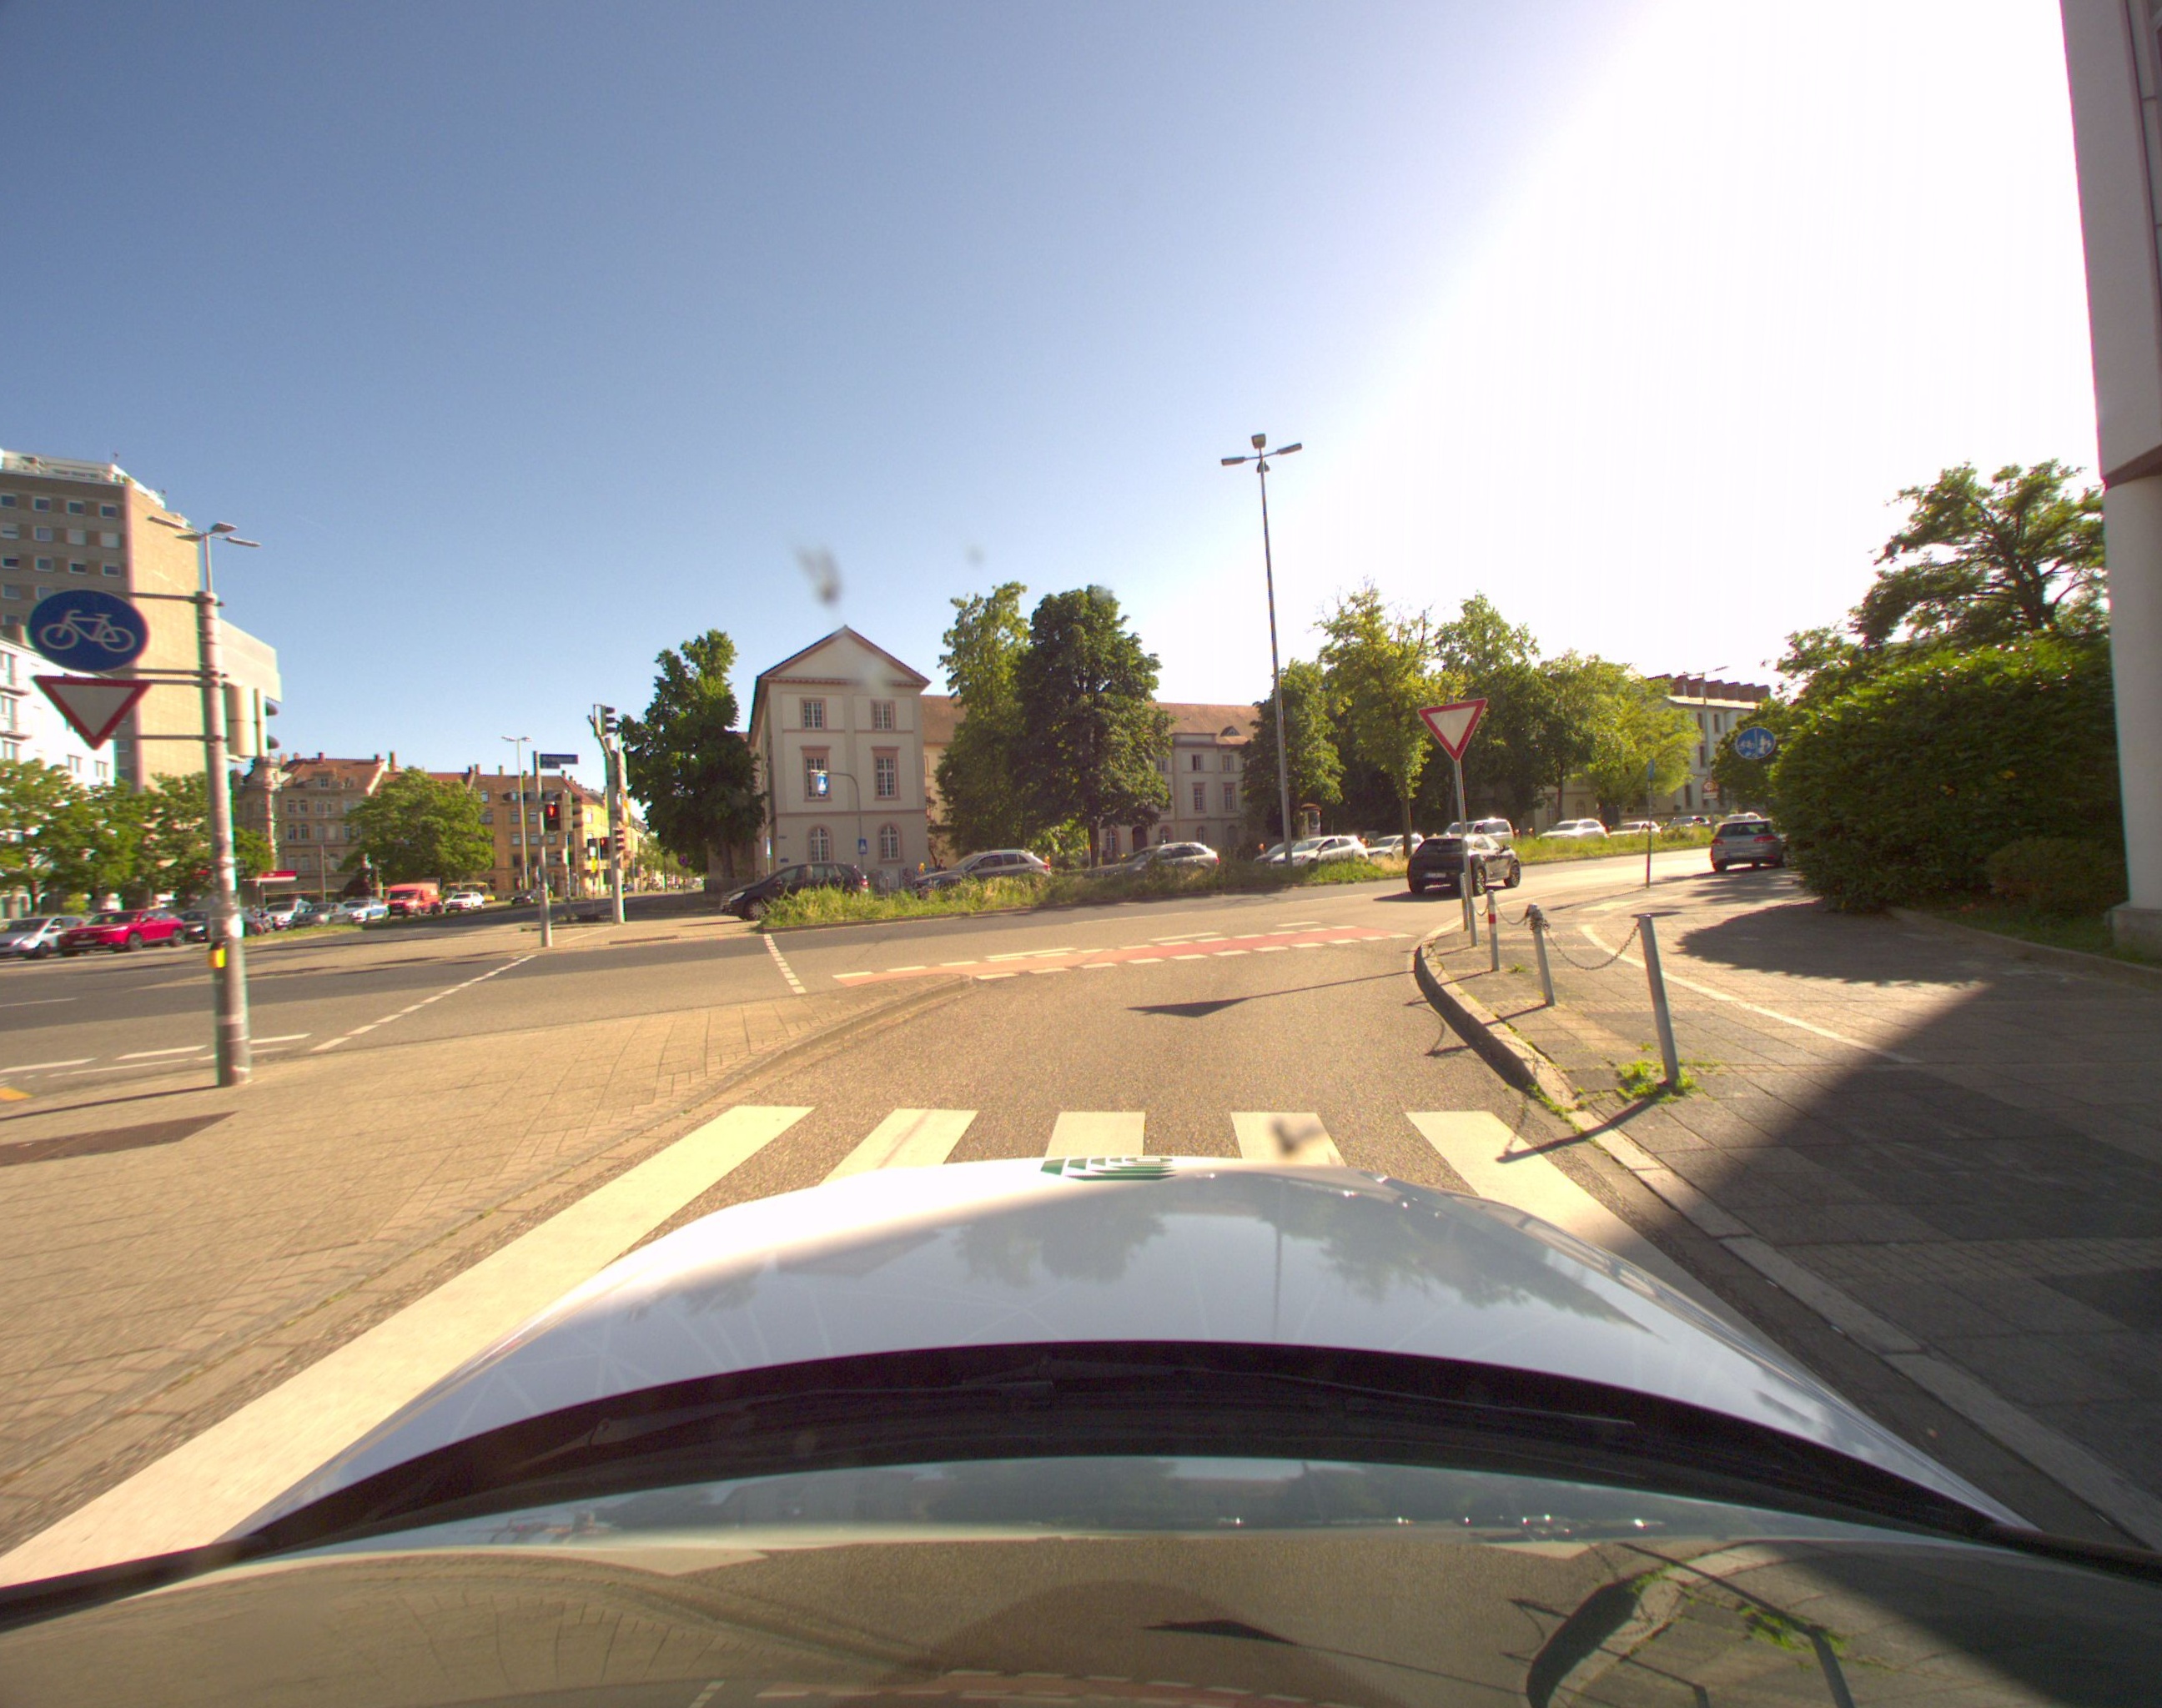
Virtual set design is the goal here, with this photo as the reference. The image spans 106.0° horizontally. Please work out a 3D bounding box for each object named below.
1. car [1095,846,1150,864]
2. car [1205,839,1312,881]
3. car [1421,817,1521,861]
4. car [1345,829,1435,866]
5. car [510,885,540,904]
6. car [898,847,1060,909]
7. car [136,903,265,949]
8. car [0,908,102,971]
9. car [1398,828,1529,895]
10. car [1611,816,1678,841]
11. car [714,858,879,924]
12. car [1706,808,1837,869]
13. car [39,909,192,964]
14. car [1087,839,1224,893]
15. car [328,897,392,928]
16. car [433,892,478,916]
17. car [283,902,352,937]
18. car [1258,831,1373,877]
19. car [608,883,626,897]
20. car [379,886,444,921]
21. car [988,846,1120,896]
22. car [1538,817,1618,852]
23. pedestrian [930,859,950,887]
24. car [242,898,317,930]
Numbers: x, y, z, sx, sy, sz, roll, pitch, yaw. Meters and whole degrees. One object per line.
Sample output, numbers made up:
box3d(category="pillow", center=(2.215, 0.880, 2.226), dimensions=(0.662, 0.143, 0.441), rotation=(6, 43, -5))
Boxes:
box3d(category="car", center=(3.614, 0.084, 70.642), dimensions=(4.700, 1.492, 1.631), rotation=(0, -1, -31))
box3d(category="car", center=(7.520, 0.222, 34.338), dimensions=(4.362, 1.519, 1.784), rotation=(-3, 1, -31))
box3d(category="car", center=(20.225, -0.799, 42.205), dimensions=(5.034, 2.028, 2.218), rotation=(-3, 0, -31))
box3d(category="car", center=(14.634, -0.315, 38.476), dimensions=(4.093, 1.519, 1.783), rotation=(-3, 0, -31))
box3d(category="car", center=(-59.466, 4.296, 87.164), dimensions=(2.003, 1.816, 3.968), rotation=(0, -1, -24))
box3d(category="car", center=(-2.958, 0.641, 23.933), dimensions=(4.362, 1.519, 1.784), rotation=(-3, 1, -31))
box3d(category="car", center=(-38.424, 3.087, 35.716), dimensions=(1.920, 1.618, 4.678), rotation=(0, -1, -21))
box3d(category="car", center=(-39.078, 3.155, 30.574), dimensions=(2.008, 2.014, 3.957), rotation=(0, -1, -35))
box3d(category="car", center=(10.275, 0.136, 21.726), dimensions=(4.024, 1.519, 1.877), rotation=(-4, 2, -45))
box3d(category="car", center=(34.998, -1.577, 50.572), dimensions=(4.273, 1.351, 1.783), rotation=(-3, 0, -31))
box3d(category="car", center=(-8.458, 1.044, 24.292), dimensions=(4.293, 1.585, 1.844), rotation=(-3, 0, -31))
box3d(category="car", center=(20.711, -0.474, 24.400), dimensions=(4.169, 1.448, 1.627), rotation=(-5, 1, -30))
box3d(category="car", center=(-35.502, 2.980, 30.116), dimensions=(1.920, 1.618, 3.972), rotation=(0, -1, -21))
box3d(category="car", center=(2.559, 0.367, 27.570), dimensions=(4.378, 1.519, 1.784), rotation=(-4, 1, -31))
box3d(category="car", center=(-44.871, 3.611, 50.788), dimensions=(1.924, 1.618, 4.668), rotation=(0, -1, -28))
box3d(category="car", center=(-54.414, 4.298, 70.952), dimensions=(1.920, 1.814, 4.676), rotation=(0, -1, -22))
box3d(category="car", center=(-41.921, 3.569, 44.809), dimensions=(1.564, 1.618, 3.967), rotation=(0, -1, -25))
box3d(category="car", center=(8.997, -0.016, 31.170), dimensions=(4.220, 1.519, 1.783), rotation=(-3, 0, -31))
box3d(category="car", center=(-65.312, 5.015, 114.667), dimensions=(1.858, 1.706, 3.966), rotation=(-3, 0, -26))
box3d(category="car", center=(-48.538, 3.499, 59.182), dimensions=(1.920, 2.231, 5.858), rotation=(0, -1, -21))
box3d(category="car", center=(-0.934, 0.554, 29.148), dimensions=(4.362, 1.519, 1.784), rotation=(-3, 1, -31))
box3d(category="car", center=(28.721, -1.156, 47.003), dimensions=(5.049, 1.743, 1.783), rotation=(-3, 0, -31))
box3d(category="pedestrian", center=(-7.978, 1.054, 46.093), dimensions=(0.785, 1.535, 0.734), rotation=(-3, 0, -36))
box3d(category="car", center=(-47.309, 3.509, 48.181), dimensions=(1.922, 1.618, 3.967), rotation=(0, -1, -25))
